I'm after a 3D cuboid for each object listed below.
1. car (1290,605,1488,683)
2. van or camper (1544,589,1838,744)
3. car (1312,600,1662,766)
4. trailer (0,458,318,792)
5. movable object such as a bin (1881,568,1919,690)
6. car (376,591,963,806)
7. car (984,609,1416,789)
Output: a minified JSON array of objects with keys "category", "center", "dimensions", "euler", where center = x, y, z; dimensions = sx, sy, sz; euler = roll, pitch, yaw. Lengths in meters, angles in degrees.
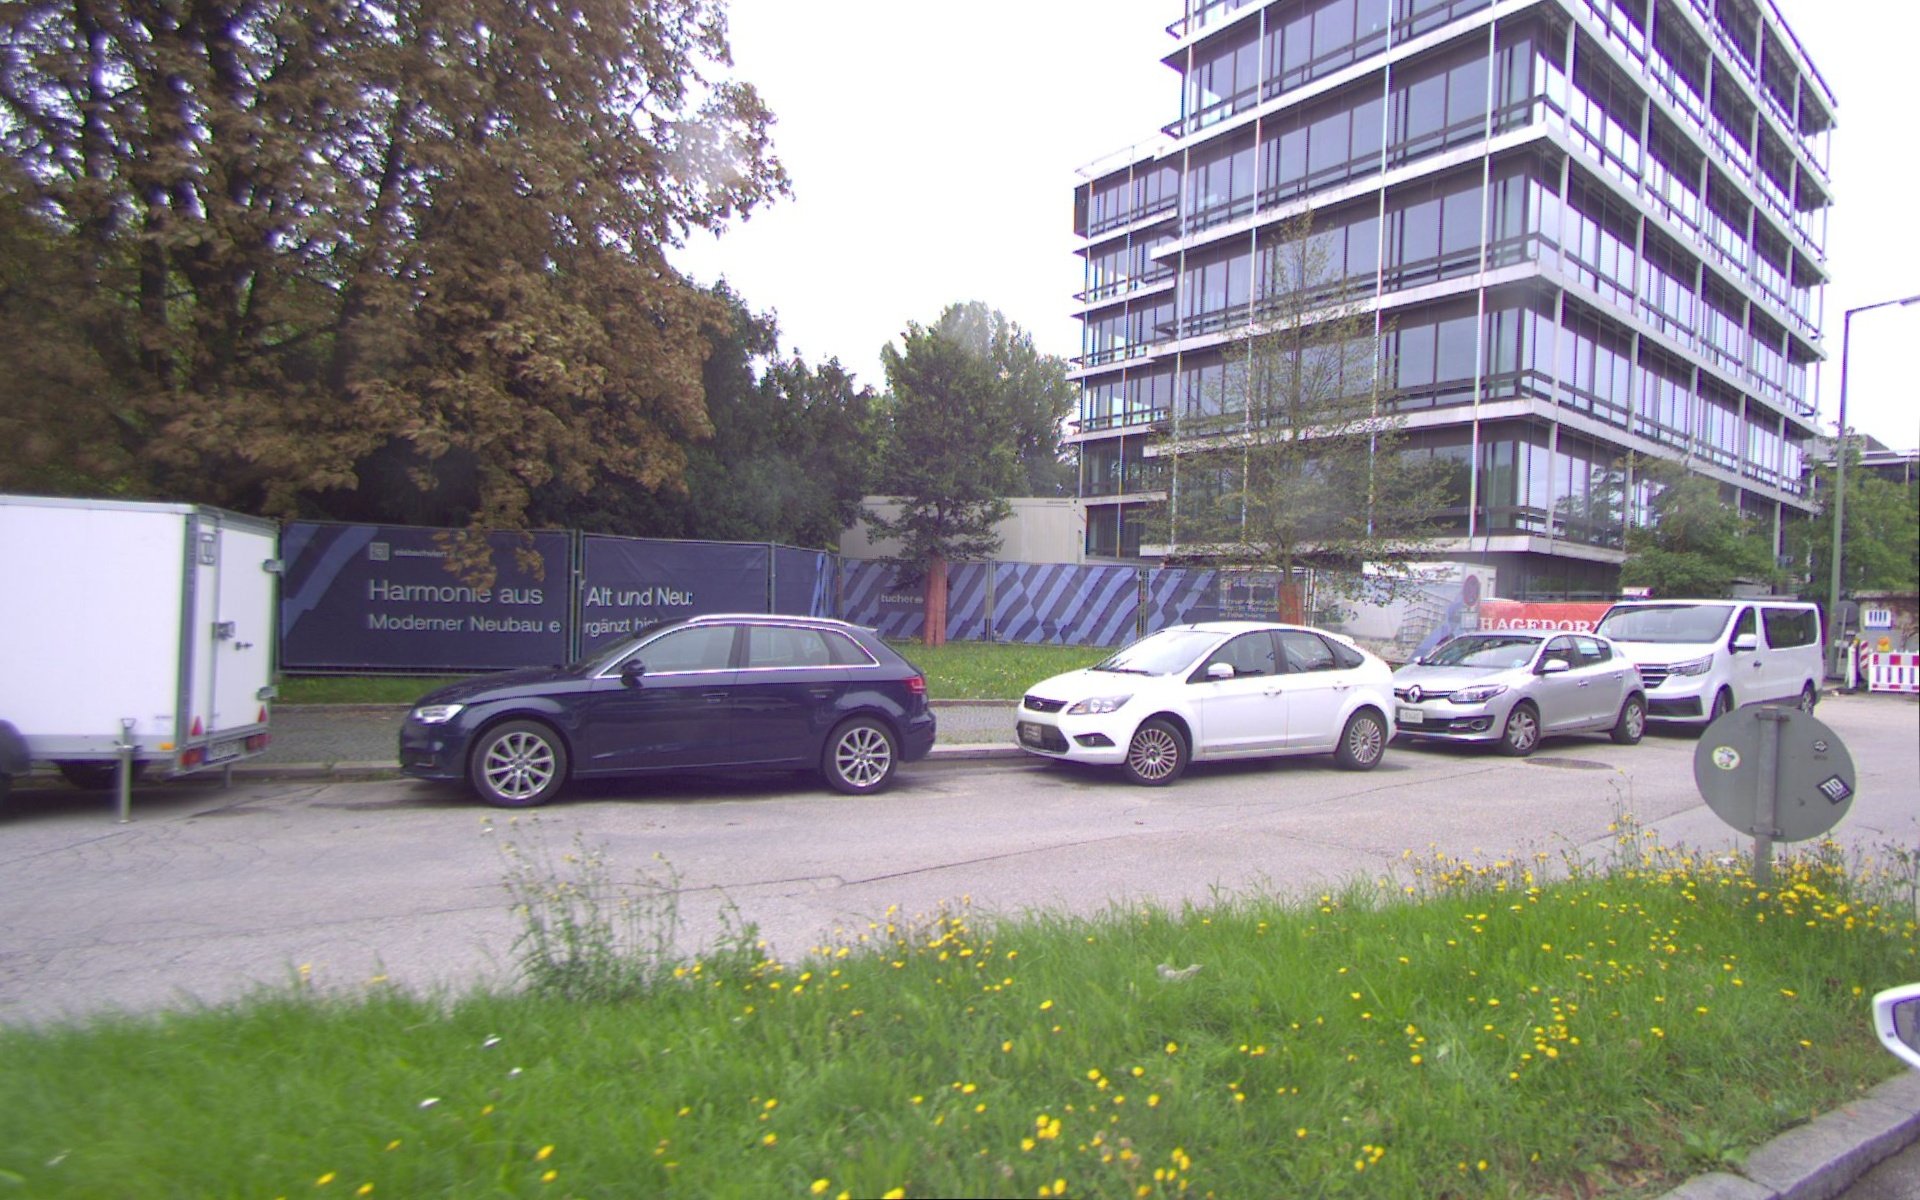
[{"category":"car","center":[11.864,1.153,28.085],"dimensions":[1.982,1.947,4.726],"euler":[2,-1,-37]},{"category":"van or camper","center":[11.484,0.924,15.645],"dimensions":[5.320,2.040,1.981],"euler":[1,0,-34]},{"category":"car","center":[6.741,0.928,12.735],"dimensions":[4.401,1.751,1.982],"euler":[1,0,-32]},{"category":"trailer","center":[-7.363,0.117,6.755],"dimensions":[4.749,2.040,1.811],"euler":[1,0,-12]},{"category":"movable object such as a bin","center":[33.788,0.999,33.372],"dimensions":[8.926,3.766,3.216],"euler":[1,0,-38]},{"category":"car","center":[-2.305,0.740,8.495],"dimensions":[4.266,1.456,1.868],"euler":[2,-1,-22]},{"category":"car","center":[2.510,0.918,10.363],"dimensions":[4.166,1.506,1.760],"euler":[2,0,-27]}]
